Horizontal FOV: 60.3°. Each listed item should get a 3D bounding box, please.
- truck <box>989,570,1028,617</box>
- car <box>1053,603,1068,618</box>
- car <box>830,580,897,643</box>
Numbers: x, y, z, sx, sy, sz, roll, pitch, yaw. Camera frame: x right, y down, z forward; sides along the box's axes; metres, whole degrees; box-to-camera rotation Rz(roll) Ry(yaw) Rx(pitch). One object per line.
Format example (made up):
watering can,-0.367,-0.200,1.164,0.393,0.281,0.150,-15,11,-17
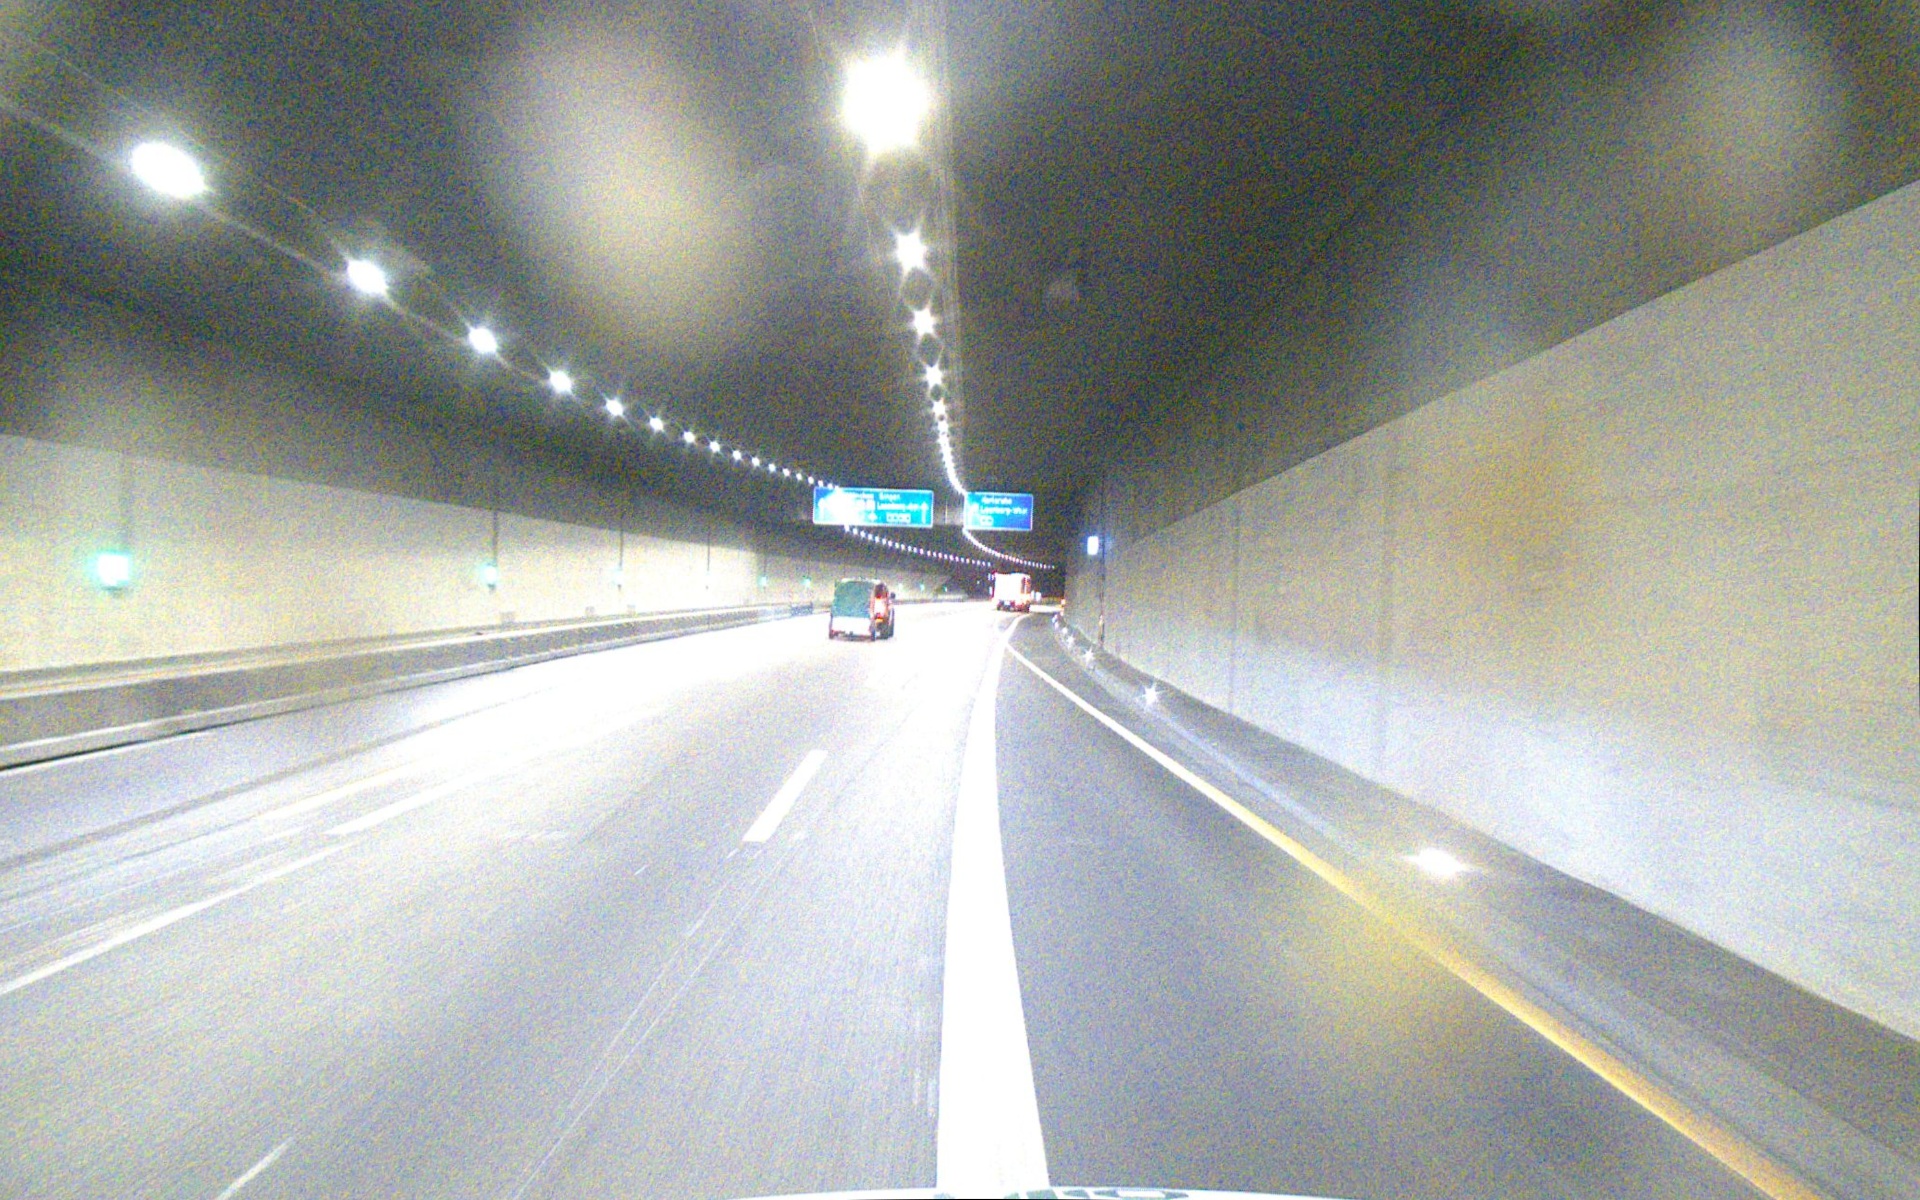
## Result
truck,4.858,-0.625,164.181,3.401,4.391,10.956,2,0,3
car,13.668,1.376,224.603,1.951,1.928,5.535,0,0,4
car,-3.223,0.441,56.136,1.953,1.928,5.452,0,-2,0
